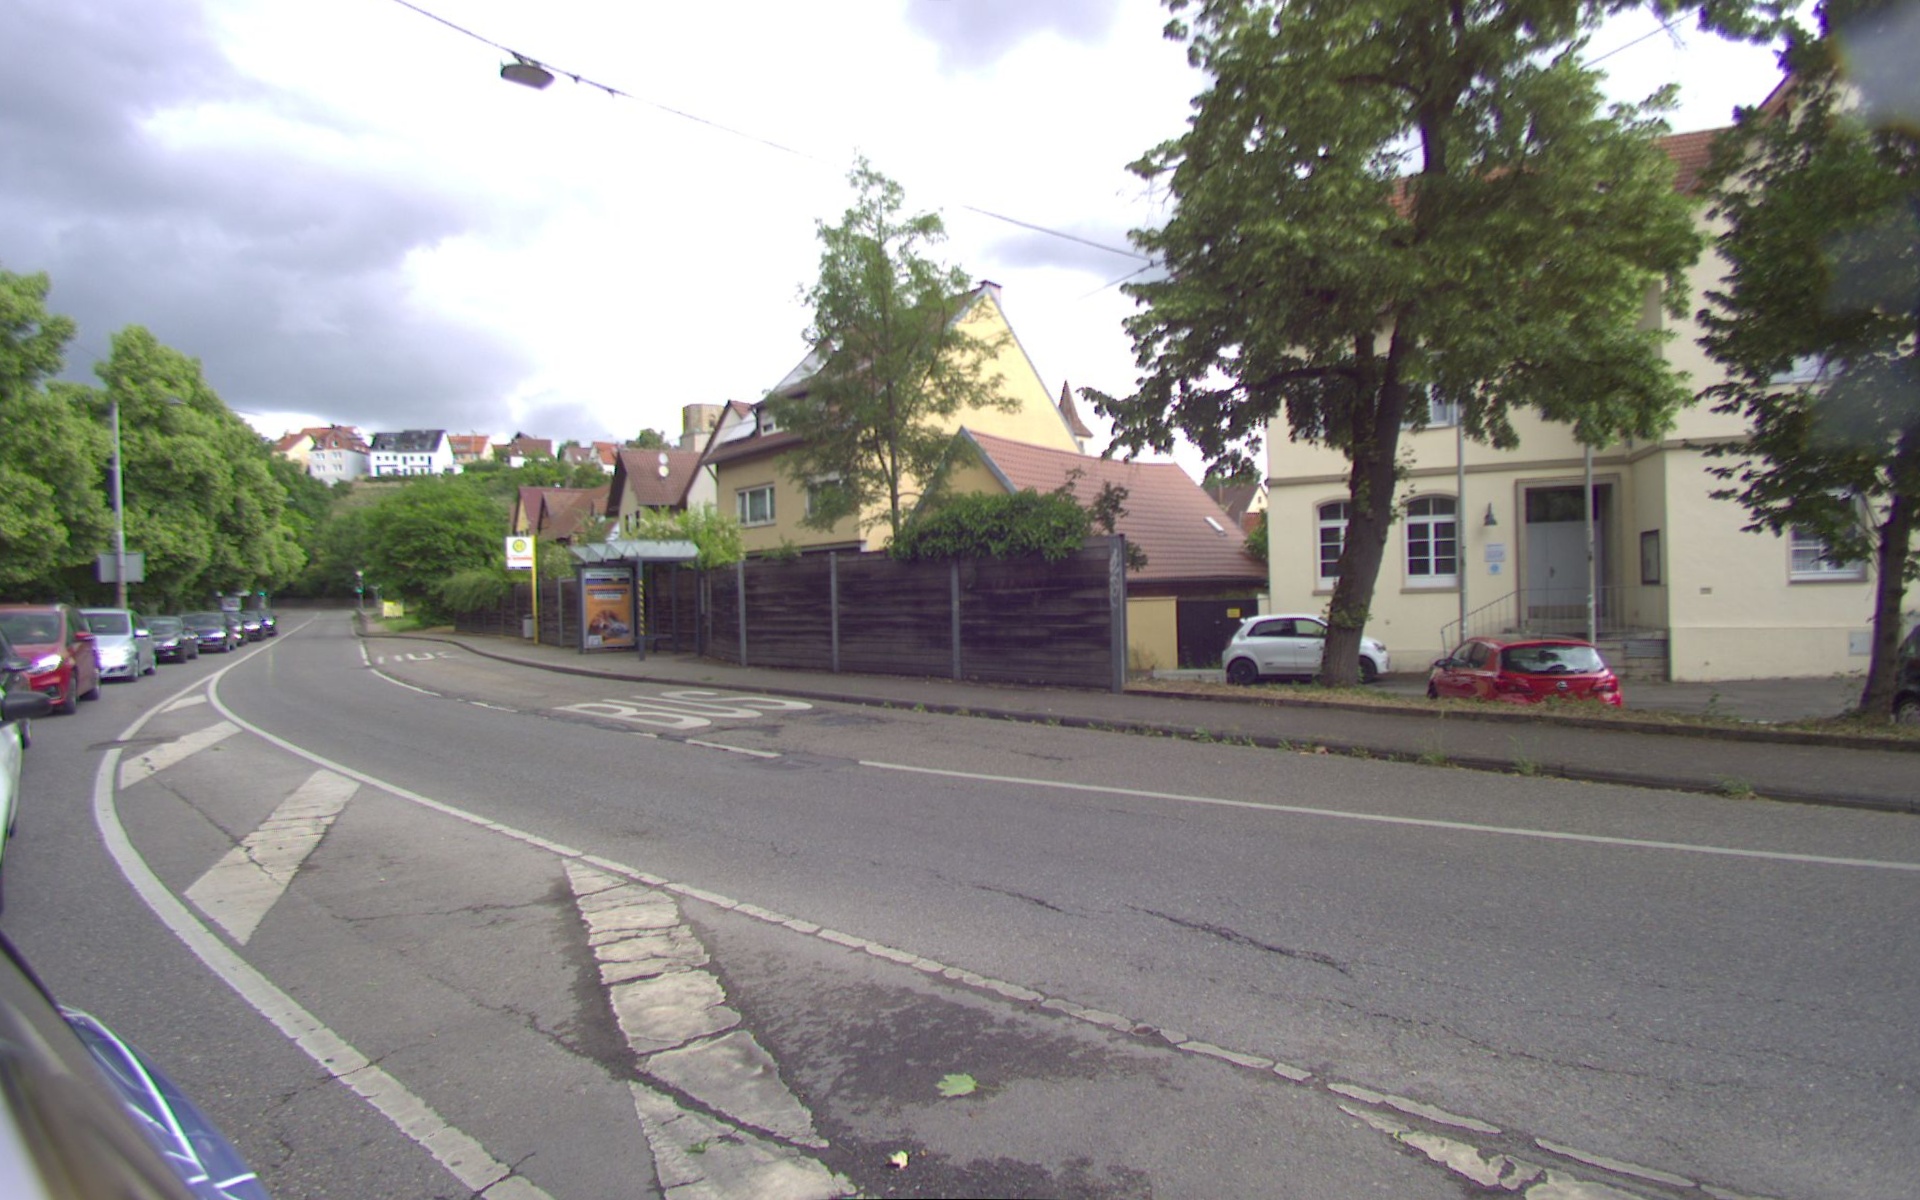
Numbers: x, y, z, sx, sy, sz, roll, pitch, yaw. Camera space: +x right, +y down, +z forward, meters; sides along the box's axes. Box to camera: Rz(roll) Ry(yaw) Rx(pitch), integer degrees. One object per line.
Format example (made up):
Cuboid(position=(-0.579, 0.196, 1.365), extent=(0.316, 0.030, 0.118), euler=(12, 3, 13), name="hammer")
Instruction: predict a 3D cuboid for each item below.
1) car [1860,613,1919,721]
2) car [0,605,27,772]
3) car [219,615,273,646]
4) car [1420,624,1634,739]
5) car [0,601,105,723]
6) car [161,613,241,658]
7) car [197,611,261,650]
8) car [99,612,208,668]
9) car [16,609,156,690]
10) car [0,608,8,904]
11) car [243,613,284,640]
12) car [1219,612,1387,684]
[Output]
Cuboid(position=(12.621, 0.838, 11.769), extent=(1.465, 1.320, 3.394), euler=(-1, 0, 6), name="car")
Cuboid(position=(-10.651, 0.833, 10.246), extent=(1.705, 1.532, 4.005), euler=(-1, 0, -42), name="car")
Cuboid(position=(-32.789, 1.378, 46.556), extent=(1.617, 1.278, 3.637), euler=(-1, 0, -29), name="car")
Cuboid(position=(8.120, 1.094, 14.854), extent=(1.582, 1.363, 3.619), euler=(-1, 0, 10), name="car")
Cuboid(position=(-14.408, 0.868, 15.489), extent=(1.648, 1.654, 4.110), euler=(-1, 0, -35), name="car")
Cuboid(position=(-26.557, 1.187, 35.511), extent=(1.669, 1.422, 3.994), euler=(-1, 0, -29), name="car")
Cuboid(position=(-29.897, 1.213, 41.476), extent=(1.679, 1.457, 3.879), euler=(-1, 0, -29), name="car")
Cuboid(position=(-23.602, 1.122, 29.767), extent=(1.823, 1.468, 4.013), euler=(-1, 0, -29), name="car")
Cuboid(position=(-19.039, 0.999, 22.213), extent=(1.754, 1.580, 4.011), euler=(-1, 0, -33), name="car")
Cuboid(position=(-6.217, 0.818, 5.401), extent=(1.604, 1.519, 4.004), euler=(-1, 0, -43), name="car")
Cuboid(position=(-35.899, 1.343, 52.233), extent=(1.396, 1.259, 3.306), euler=(-1, 0, -29), name="car")
Cuboid(position=(7.732, 1.067, 22.951), extent=(3.454, 1.503, 1.643), euler=(-1, 0, 20), name="car")
